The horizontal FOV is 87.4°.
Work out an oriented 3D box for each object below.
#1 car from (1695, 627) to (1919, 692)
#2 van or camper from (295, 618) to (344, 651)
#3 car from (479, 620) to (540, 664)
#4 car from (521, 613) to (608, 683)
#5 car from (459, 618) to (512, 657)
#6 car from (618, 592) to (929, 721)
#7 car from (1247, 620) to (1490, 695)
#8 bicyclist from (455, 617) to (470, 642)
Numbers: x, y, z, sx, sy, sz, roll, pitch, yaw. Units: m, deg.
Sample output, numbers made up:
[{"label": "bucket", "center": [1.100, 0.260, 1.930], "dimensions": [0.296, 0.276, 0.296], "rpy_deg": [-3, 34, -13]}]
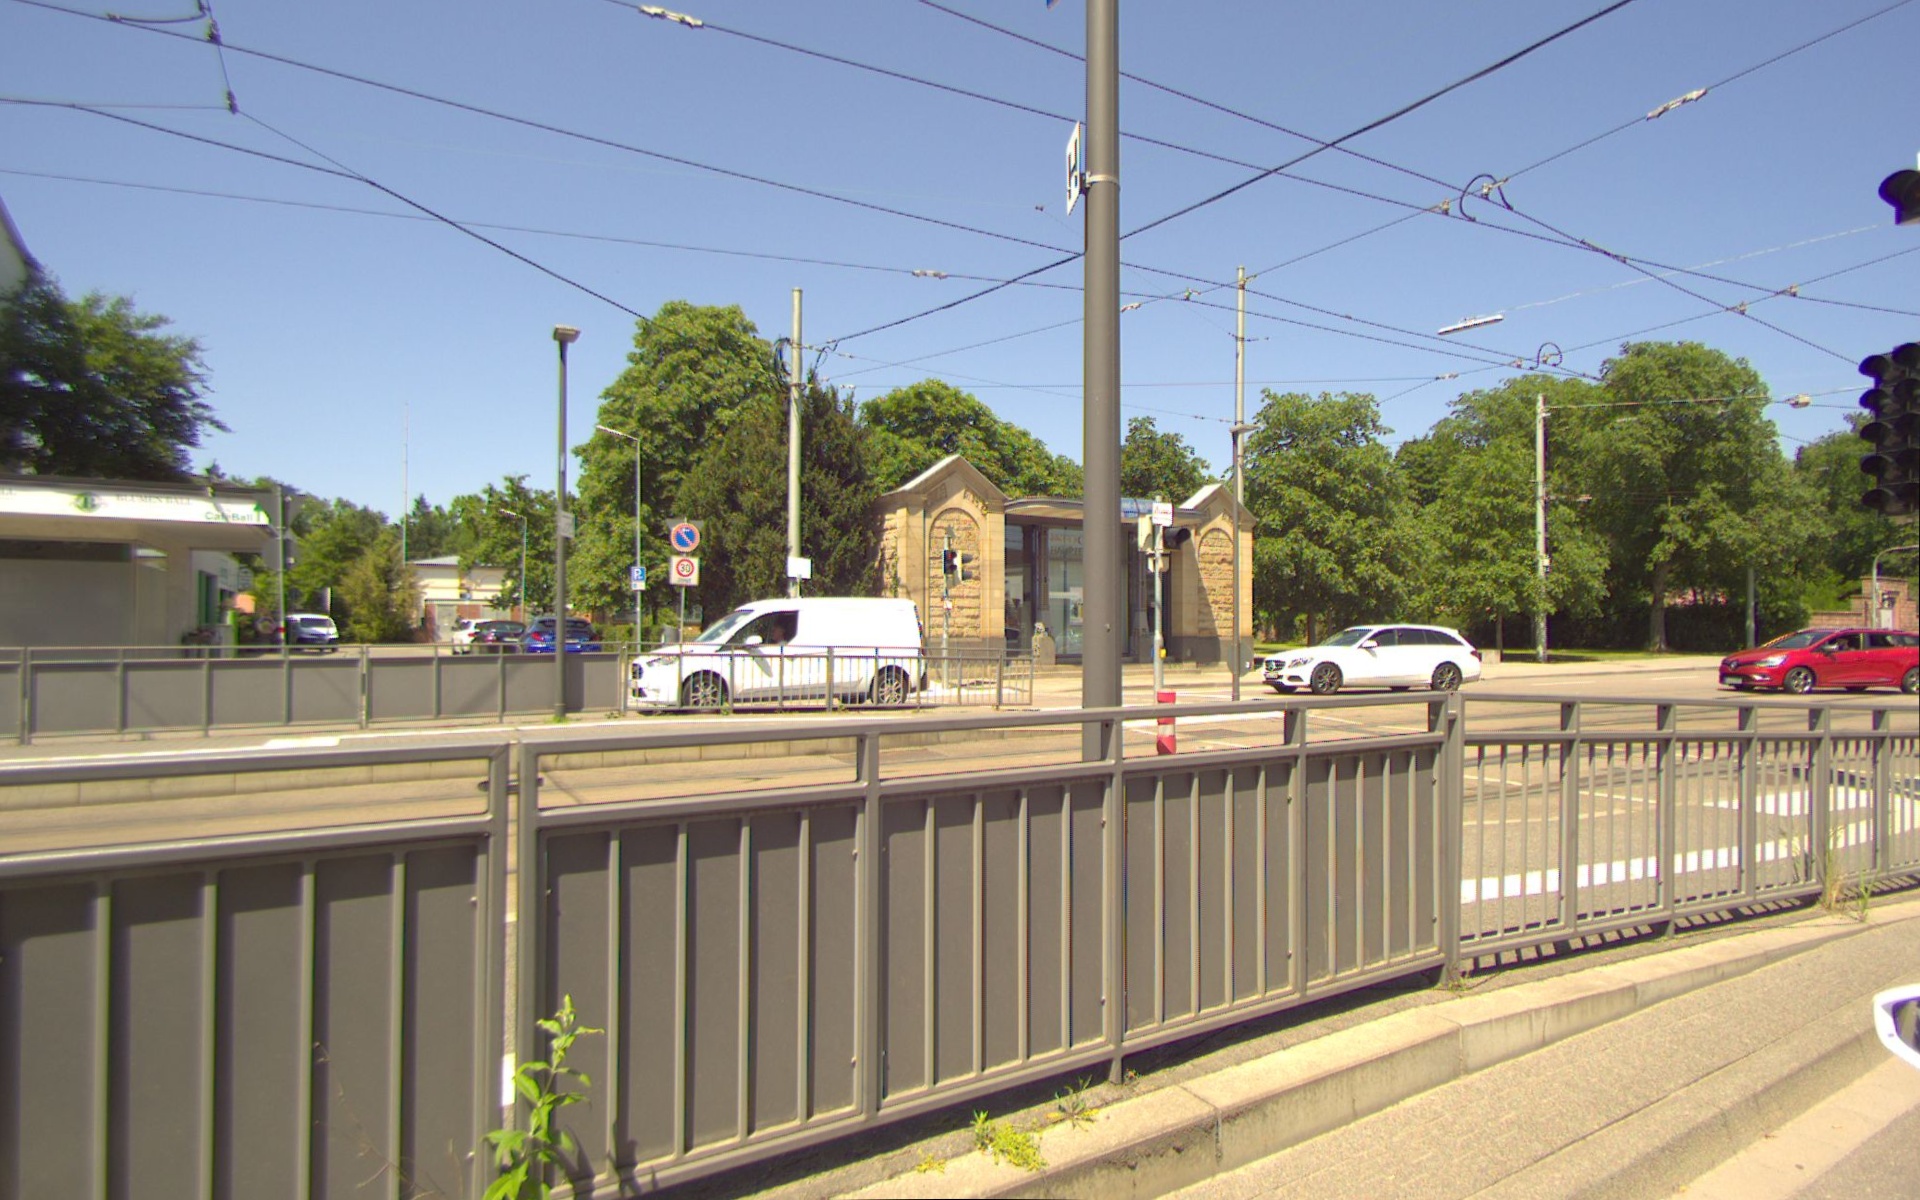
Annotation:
[{"label": "car", "center": [19.448, 1.324, 22.848], "dimensions": [4.092, 1.414, 1.824], "rpy_deg": [0, -1, 2]}, {"label": "van or camper", "center": [-31.930, 1.685, 50.031], "dimensions": [1.676, 1.587, 3.784], "rpy_deg": [1, -2, -38]}, {"label": "car", "center": [-15.381, 1.428, 34.212], "dimensions": [1.624, 1.388, 3.785], "rpy_deg": [1, -3, -29]}, {"label": "car", "center": [-9.859, 1.113, 24.858], "dimensions": [1.799, 1.472, 3.934], "rpy_deg": [1, 1, -25]}, {"label": "car", "center": [-18.655, 1.475, 39.448], "dimensions": [1.625, 1.465, 3.784], "rpy_deg": [1, -3, -29]}, {"label": "car", "center": [-2.983, 0.870, 16.263], "dimensions": [4.638, 1.840, 1.849], "rpy_deg": [1, -2, -27]}, {"label": "car", "center": [8.695, 1.204, 21.520], "dimensions": [4.542, 1.487, 1.821], "rpy_deg": [0, -3, -11]}, {"label": "bicyclist", "center": [-28.609, 1.696, 57.722], "dimensions": [0.522, 1.454, 0.619], "rpy_deg": [-1, -1, 42]}]
